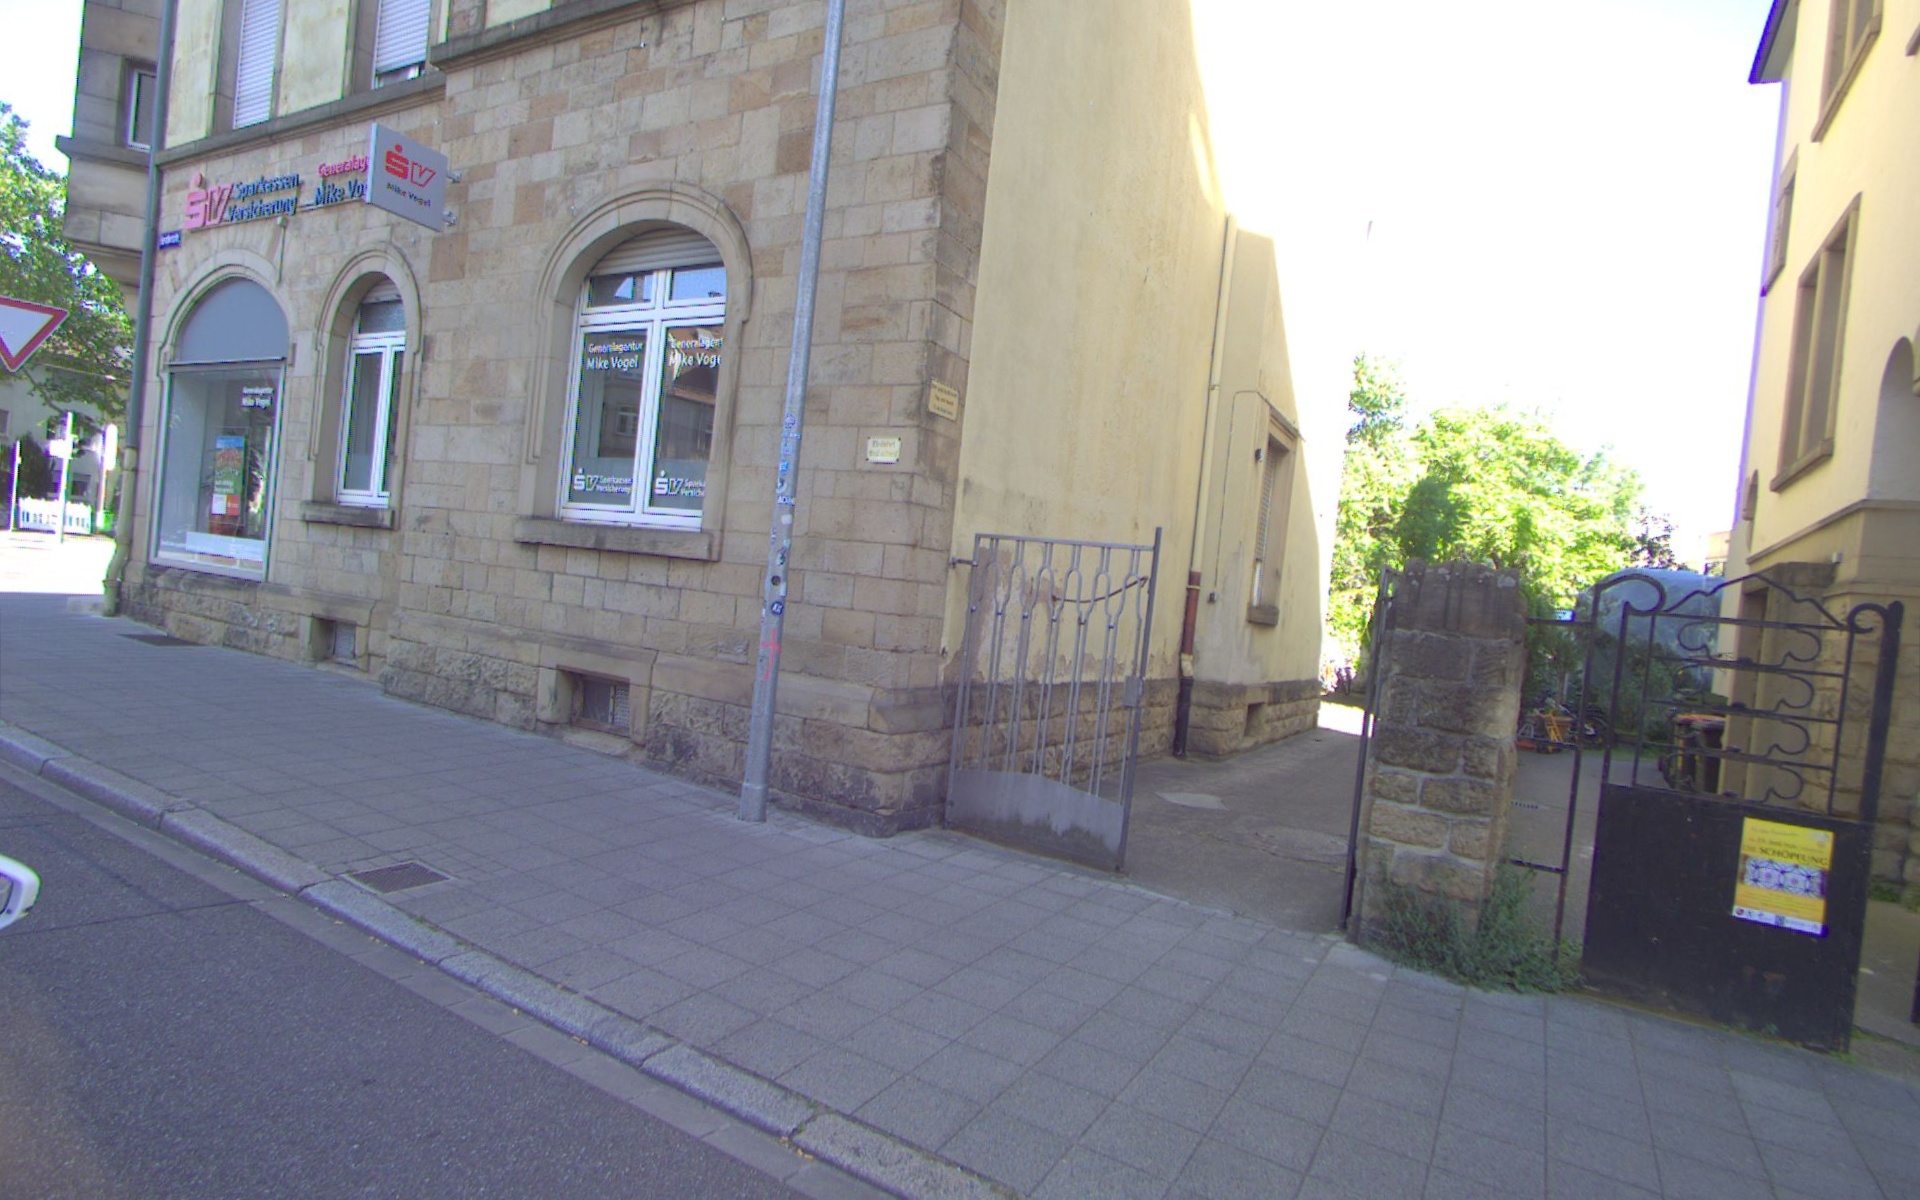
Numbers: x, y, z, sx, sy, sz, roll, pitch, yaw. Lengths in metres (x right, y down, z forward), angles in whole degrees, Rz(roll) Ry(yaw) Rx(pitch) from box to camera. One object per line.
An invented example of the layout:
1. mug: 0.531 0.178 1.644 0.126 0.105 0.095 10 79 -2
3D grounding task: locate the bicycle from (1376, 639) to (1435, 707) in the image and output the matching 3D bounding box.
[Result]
1. bicycle: 11.217 1.784 25.250 0.904 1.532 2.667 6 2 31

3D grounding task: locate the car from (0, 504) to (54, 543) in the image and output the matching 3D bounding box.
1. car: -38.538 -3.178 39.343 1.614 1.333 4.403 7 0 12

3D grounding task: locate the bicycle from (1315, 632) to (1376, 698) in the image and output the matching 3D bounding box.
1. bicycle: 9.984 1.649 25.966 0.904 1.532 2.667 6 2 31

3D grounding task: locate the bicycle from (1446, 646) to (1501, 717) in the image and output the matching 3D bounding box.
1. bicycle: 12.602 1.944 24.636 0.904 1.532 2.667 6 2 31
